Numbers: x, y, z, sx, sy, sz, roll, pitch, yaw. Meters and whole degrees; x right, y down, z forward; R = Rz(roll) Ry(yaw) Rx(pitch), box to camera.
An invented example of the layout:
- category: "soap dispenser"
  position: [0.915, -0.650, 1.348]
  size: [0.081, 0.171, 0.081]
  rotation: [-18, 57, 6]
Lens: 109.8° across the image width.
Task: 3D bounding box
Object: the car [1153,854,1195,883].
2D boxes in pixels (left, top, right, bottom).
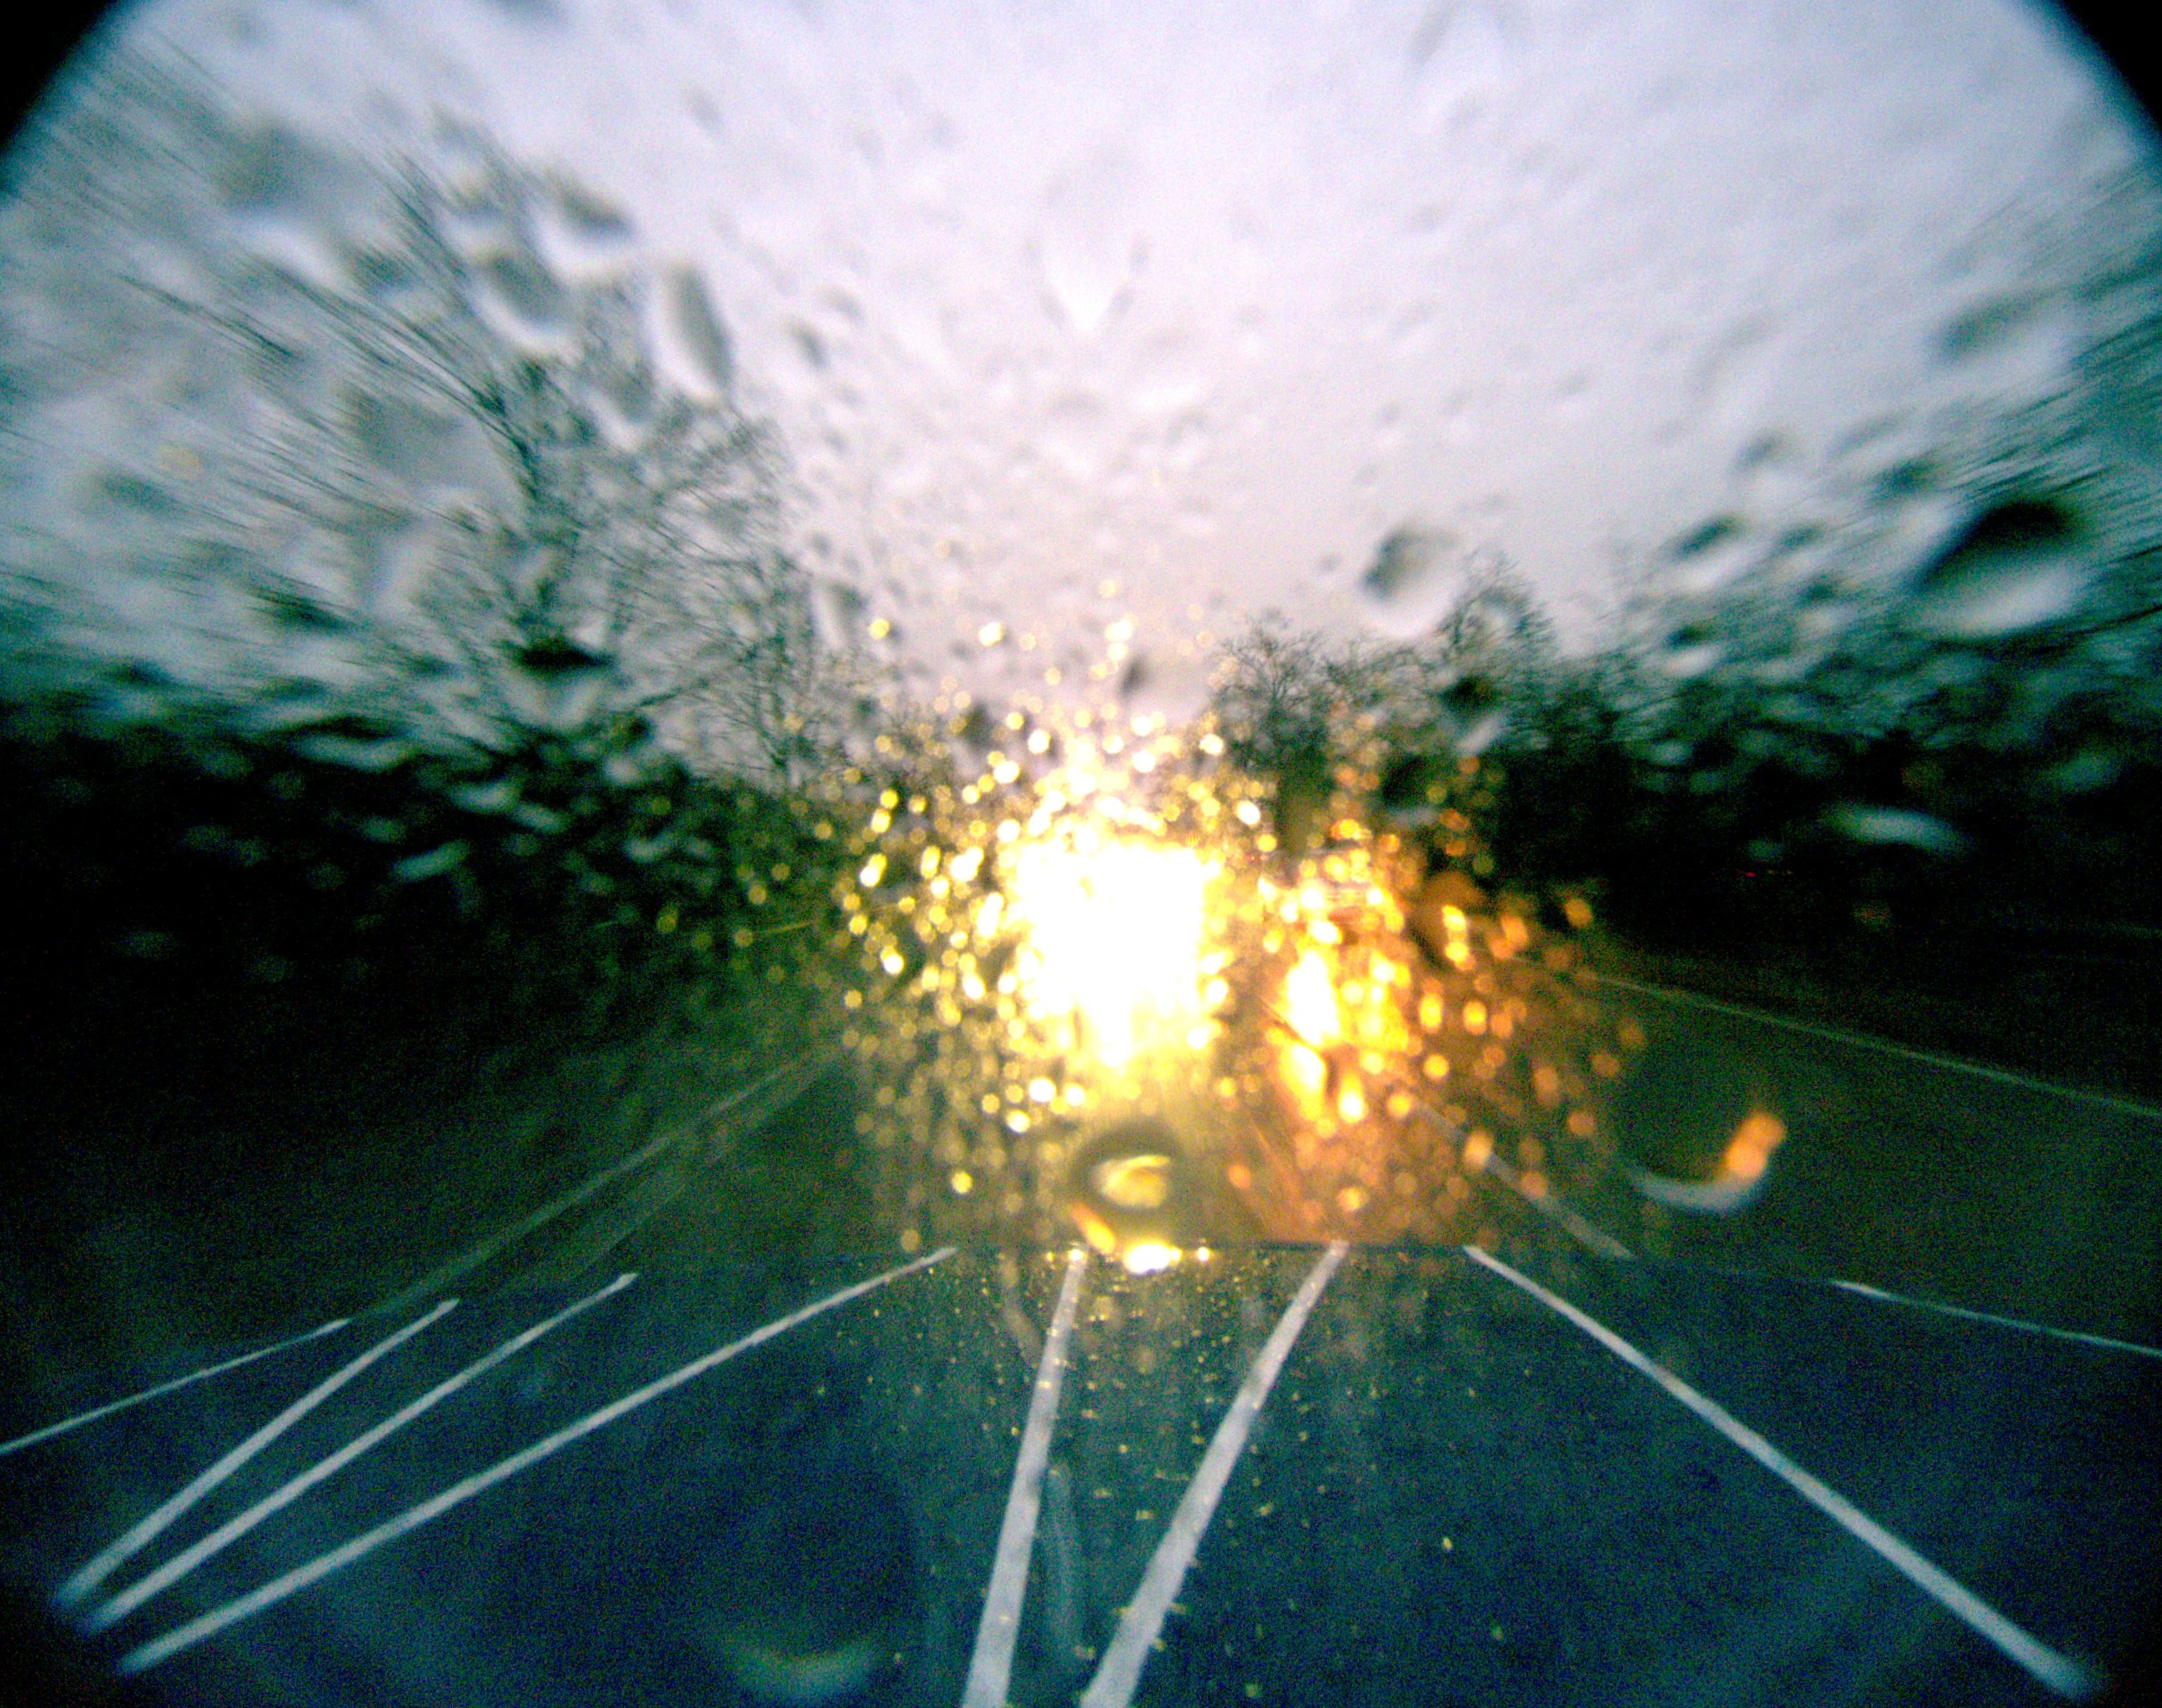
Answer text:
- category: "car"
  position: [5.200, 0.771, 42.762]
  size: [2.026, 1.521, 4.146]
  rotation: [0, 1, 3]

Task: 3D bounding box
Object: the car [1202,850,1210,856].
- category: "car"
  position: [31.141, -0.274, 188.950]
  size: [1.540, 1.320, 3.957]
  rotation: [0, 1, 4]

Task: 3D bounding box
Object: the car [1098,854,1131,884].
- category: "car"
  position: [1.958, 0.798, 42.931]
  size: [1.727, 1.573, 3.792]
  rotation: [0, 1, 5]

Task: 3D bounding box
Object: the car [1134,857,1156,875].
- category: "car"
  position: [5.319, 1.012, 63.761]
  size: [1.696, 1.327, 4.000]
  rotation: [-1, 1, 3]

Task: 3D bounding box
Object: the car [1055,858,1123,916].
- category: "car"
  position: [0.326, 0.911, 22.773]
  size: [1.830, 1.524, 4.000]
  rotation: [0, 1, 4]

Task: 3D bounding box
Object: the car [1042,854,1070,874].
- category: "car"
  position: [-1.880, 0.739, 57.771]
  size: [1.728, 1.426, 3.791]
  rotation: [0, 1, 4]

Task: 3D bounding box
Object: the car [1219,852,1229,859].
- category: "car"
  position: [29.423, 0.273, 156.512]
  size: [1.652, 1.491, 3.957]
  rotation: [0, 1, 4]

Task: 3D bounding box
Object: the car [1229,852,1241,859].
- category: "car"
  position: [28.957, 0.227, 142.838]
  size: [1.652, 1.346, 3.957]
  rotation: [0, 1, 4]

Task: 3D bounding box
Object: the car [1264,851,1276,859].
- category: "car"
  position: [36.198, 0.180, 145.573]
  size: [1.751, 1.387, 4.302]
  rotation: [0, 1, 9]

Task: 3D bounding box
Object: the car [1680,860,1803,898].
- category: "car"
  position: [26.284, 0.958, 30.436]
  size: [1.652, 1.346, 3.957]
  rotation: [0, 1, 4]

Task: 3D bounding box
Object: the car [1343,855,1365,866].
- category: "car"
  position: [32.821, 0.757, 91.408]
  size: [1.581, 1.294, 4.105]
  rotation: [0, 1, 5]

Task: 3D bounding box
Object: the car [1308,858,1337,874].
- category: "car"
  position: [23.584, 1.132, 74.294]
  size: [1.752, 1.417, 3.978]
  rotation: [0, 1, 4]

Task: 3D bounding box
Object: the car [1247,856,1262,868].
- category: "car"
  position: [25.817, 1.215, 113.213]
  size: [1.621, 1.672, 3.982]
  rotation: [0, 0, 4]

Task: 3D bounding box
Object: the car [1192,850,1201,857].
- category: "car"
  position: [27.572, -0.128, 181.546]
  size: [1.573, 1.494, 4.000]
  rotation: [-1, 1, 3]

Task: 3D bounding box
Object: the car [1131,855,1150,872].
- category: "car"
  position: [6.196, 0.952, 79.590]
  size: [1.852, 1.610, 3.951]
  rotation: [-1, 1, 3]

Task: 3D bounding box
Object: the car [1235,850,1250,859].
- category: "car"
  position: [27.200, 0.056, 127.948]
  size: [1.787, 1.524, 4.378]
  rotation: [0, 1, 4]

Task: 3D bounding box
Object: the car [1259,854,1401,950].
- category: "car"
  position: [4.757, 0.822, 15.126]
  size: [1.765, 1.590, 4.166]
  rotation: [0, 1, 5]
